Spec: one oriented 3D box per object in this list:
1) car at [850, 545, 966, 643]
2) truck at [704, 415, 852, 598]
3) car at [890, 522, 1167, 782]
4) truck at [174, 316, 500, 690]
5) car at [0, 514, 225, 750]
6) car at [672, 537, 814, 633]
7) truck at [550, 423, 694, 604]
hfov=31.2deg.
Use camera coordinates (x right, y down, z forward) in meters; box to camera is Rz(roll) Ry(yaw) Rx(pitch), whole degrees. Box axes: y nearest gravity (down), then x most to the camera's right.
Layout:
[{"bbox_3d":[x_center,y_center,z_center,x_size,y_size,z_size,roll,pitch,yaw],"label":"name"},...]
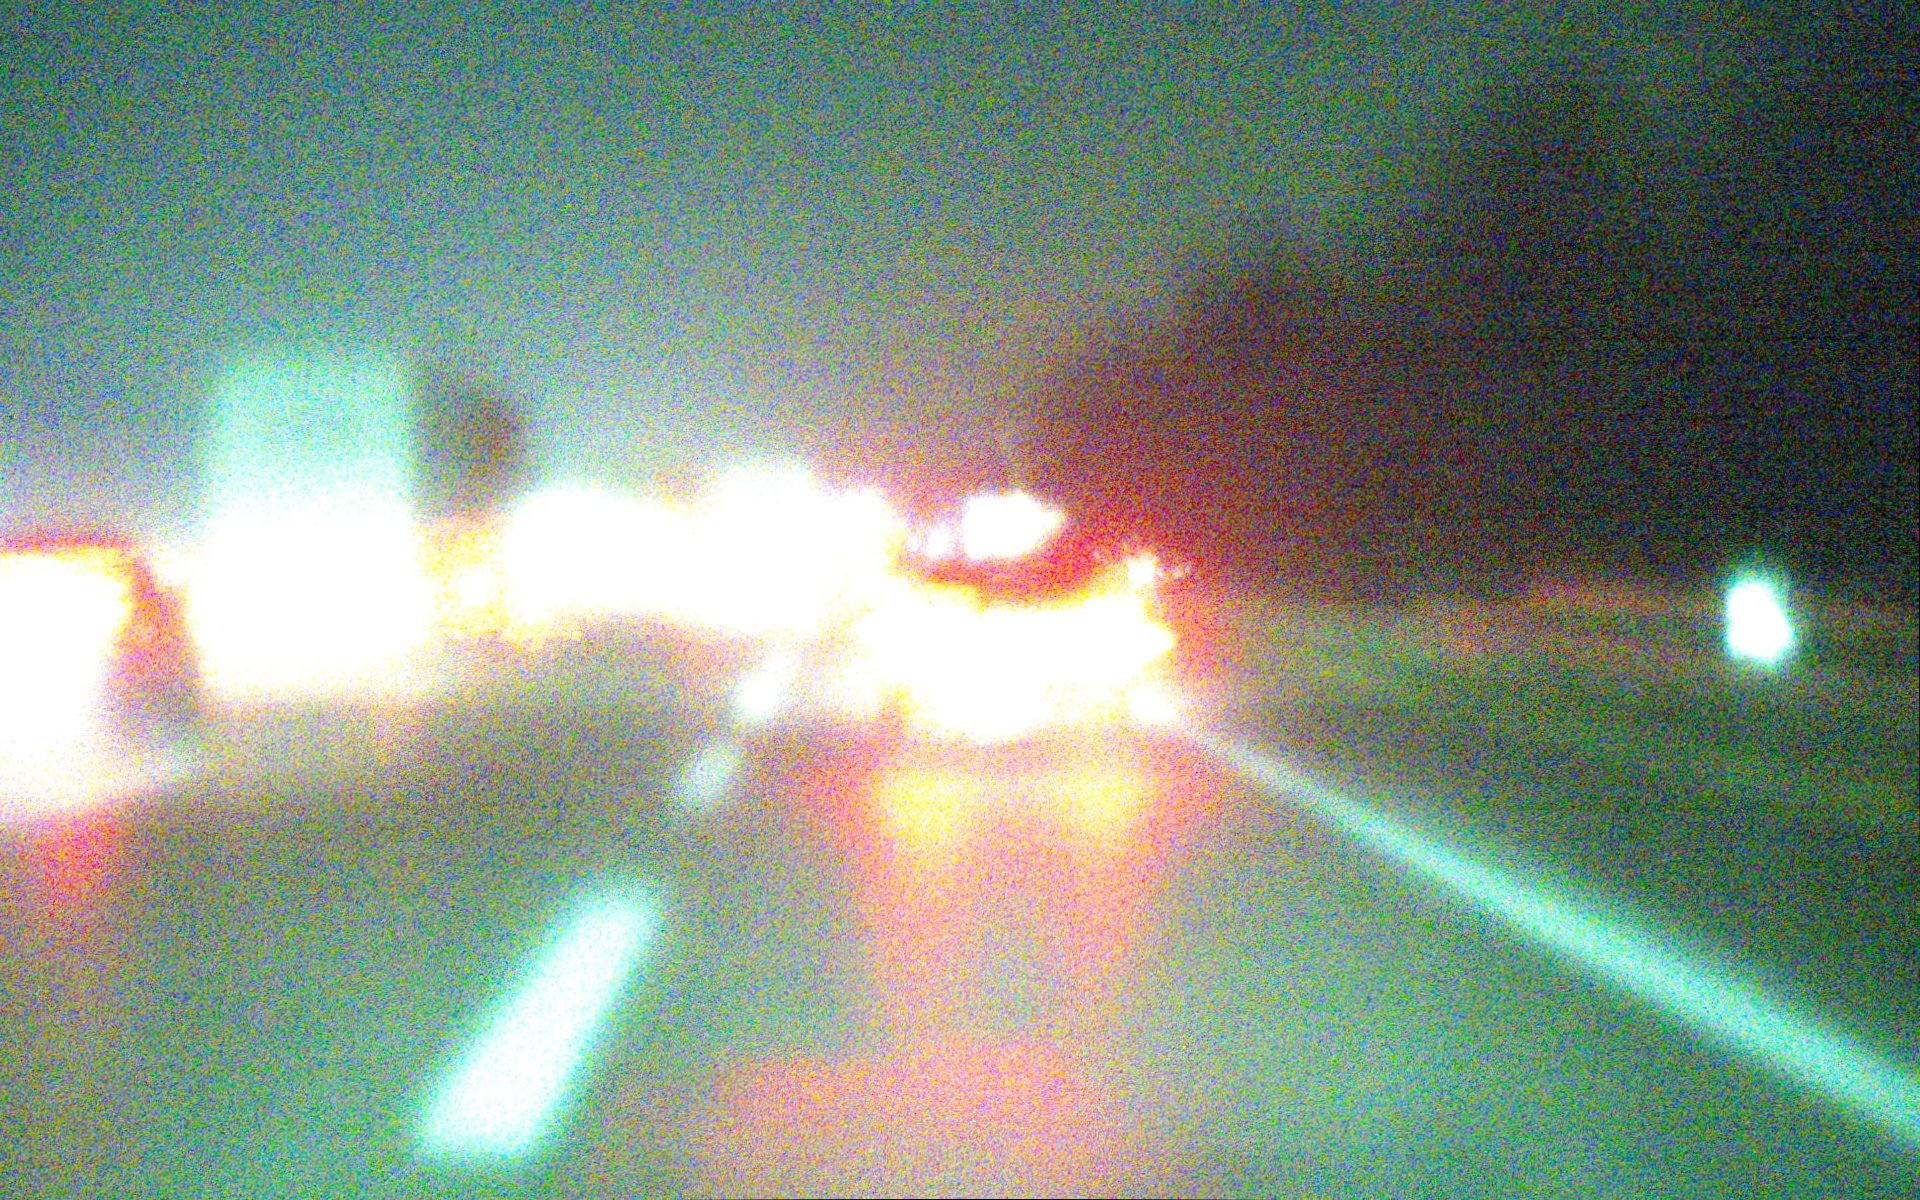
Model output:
[{"bbox_3d":[-0.946,-0.132,62.044,1.993,1.698,4.459,0,1,-1],"label":"car"},{"bbox_3d":[-5.530,-2.737,103.183,4.161,5.197,9.955,0,1,-4],"label":"truck"},{"bbox_3d":[0.450,0.330,25.486,1.878,1.756,4.000,0,1,0],"label":"car"},{"bbox_3d":[-8.568,-1.293,48.617,3.655,4.721,9.854,0,1,-5],"label":"truck"},{"bbox_3d":[-7.223,0.206,27.821,2.038,1.755,4.517,0,1,-6],"label":"car"},{"bbox_3d":[-4.727,-0.353,75.856,2.833,2.007,5.510,0,1,-1],"label":"car"},{"bbox_3d":[-10.618,-2.675,108.908,4.253,5.425,10.886,0,1,-5],"label":"truck"}]
